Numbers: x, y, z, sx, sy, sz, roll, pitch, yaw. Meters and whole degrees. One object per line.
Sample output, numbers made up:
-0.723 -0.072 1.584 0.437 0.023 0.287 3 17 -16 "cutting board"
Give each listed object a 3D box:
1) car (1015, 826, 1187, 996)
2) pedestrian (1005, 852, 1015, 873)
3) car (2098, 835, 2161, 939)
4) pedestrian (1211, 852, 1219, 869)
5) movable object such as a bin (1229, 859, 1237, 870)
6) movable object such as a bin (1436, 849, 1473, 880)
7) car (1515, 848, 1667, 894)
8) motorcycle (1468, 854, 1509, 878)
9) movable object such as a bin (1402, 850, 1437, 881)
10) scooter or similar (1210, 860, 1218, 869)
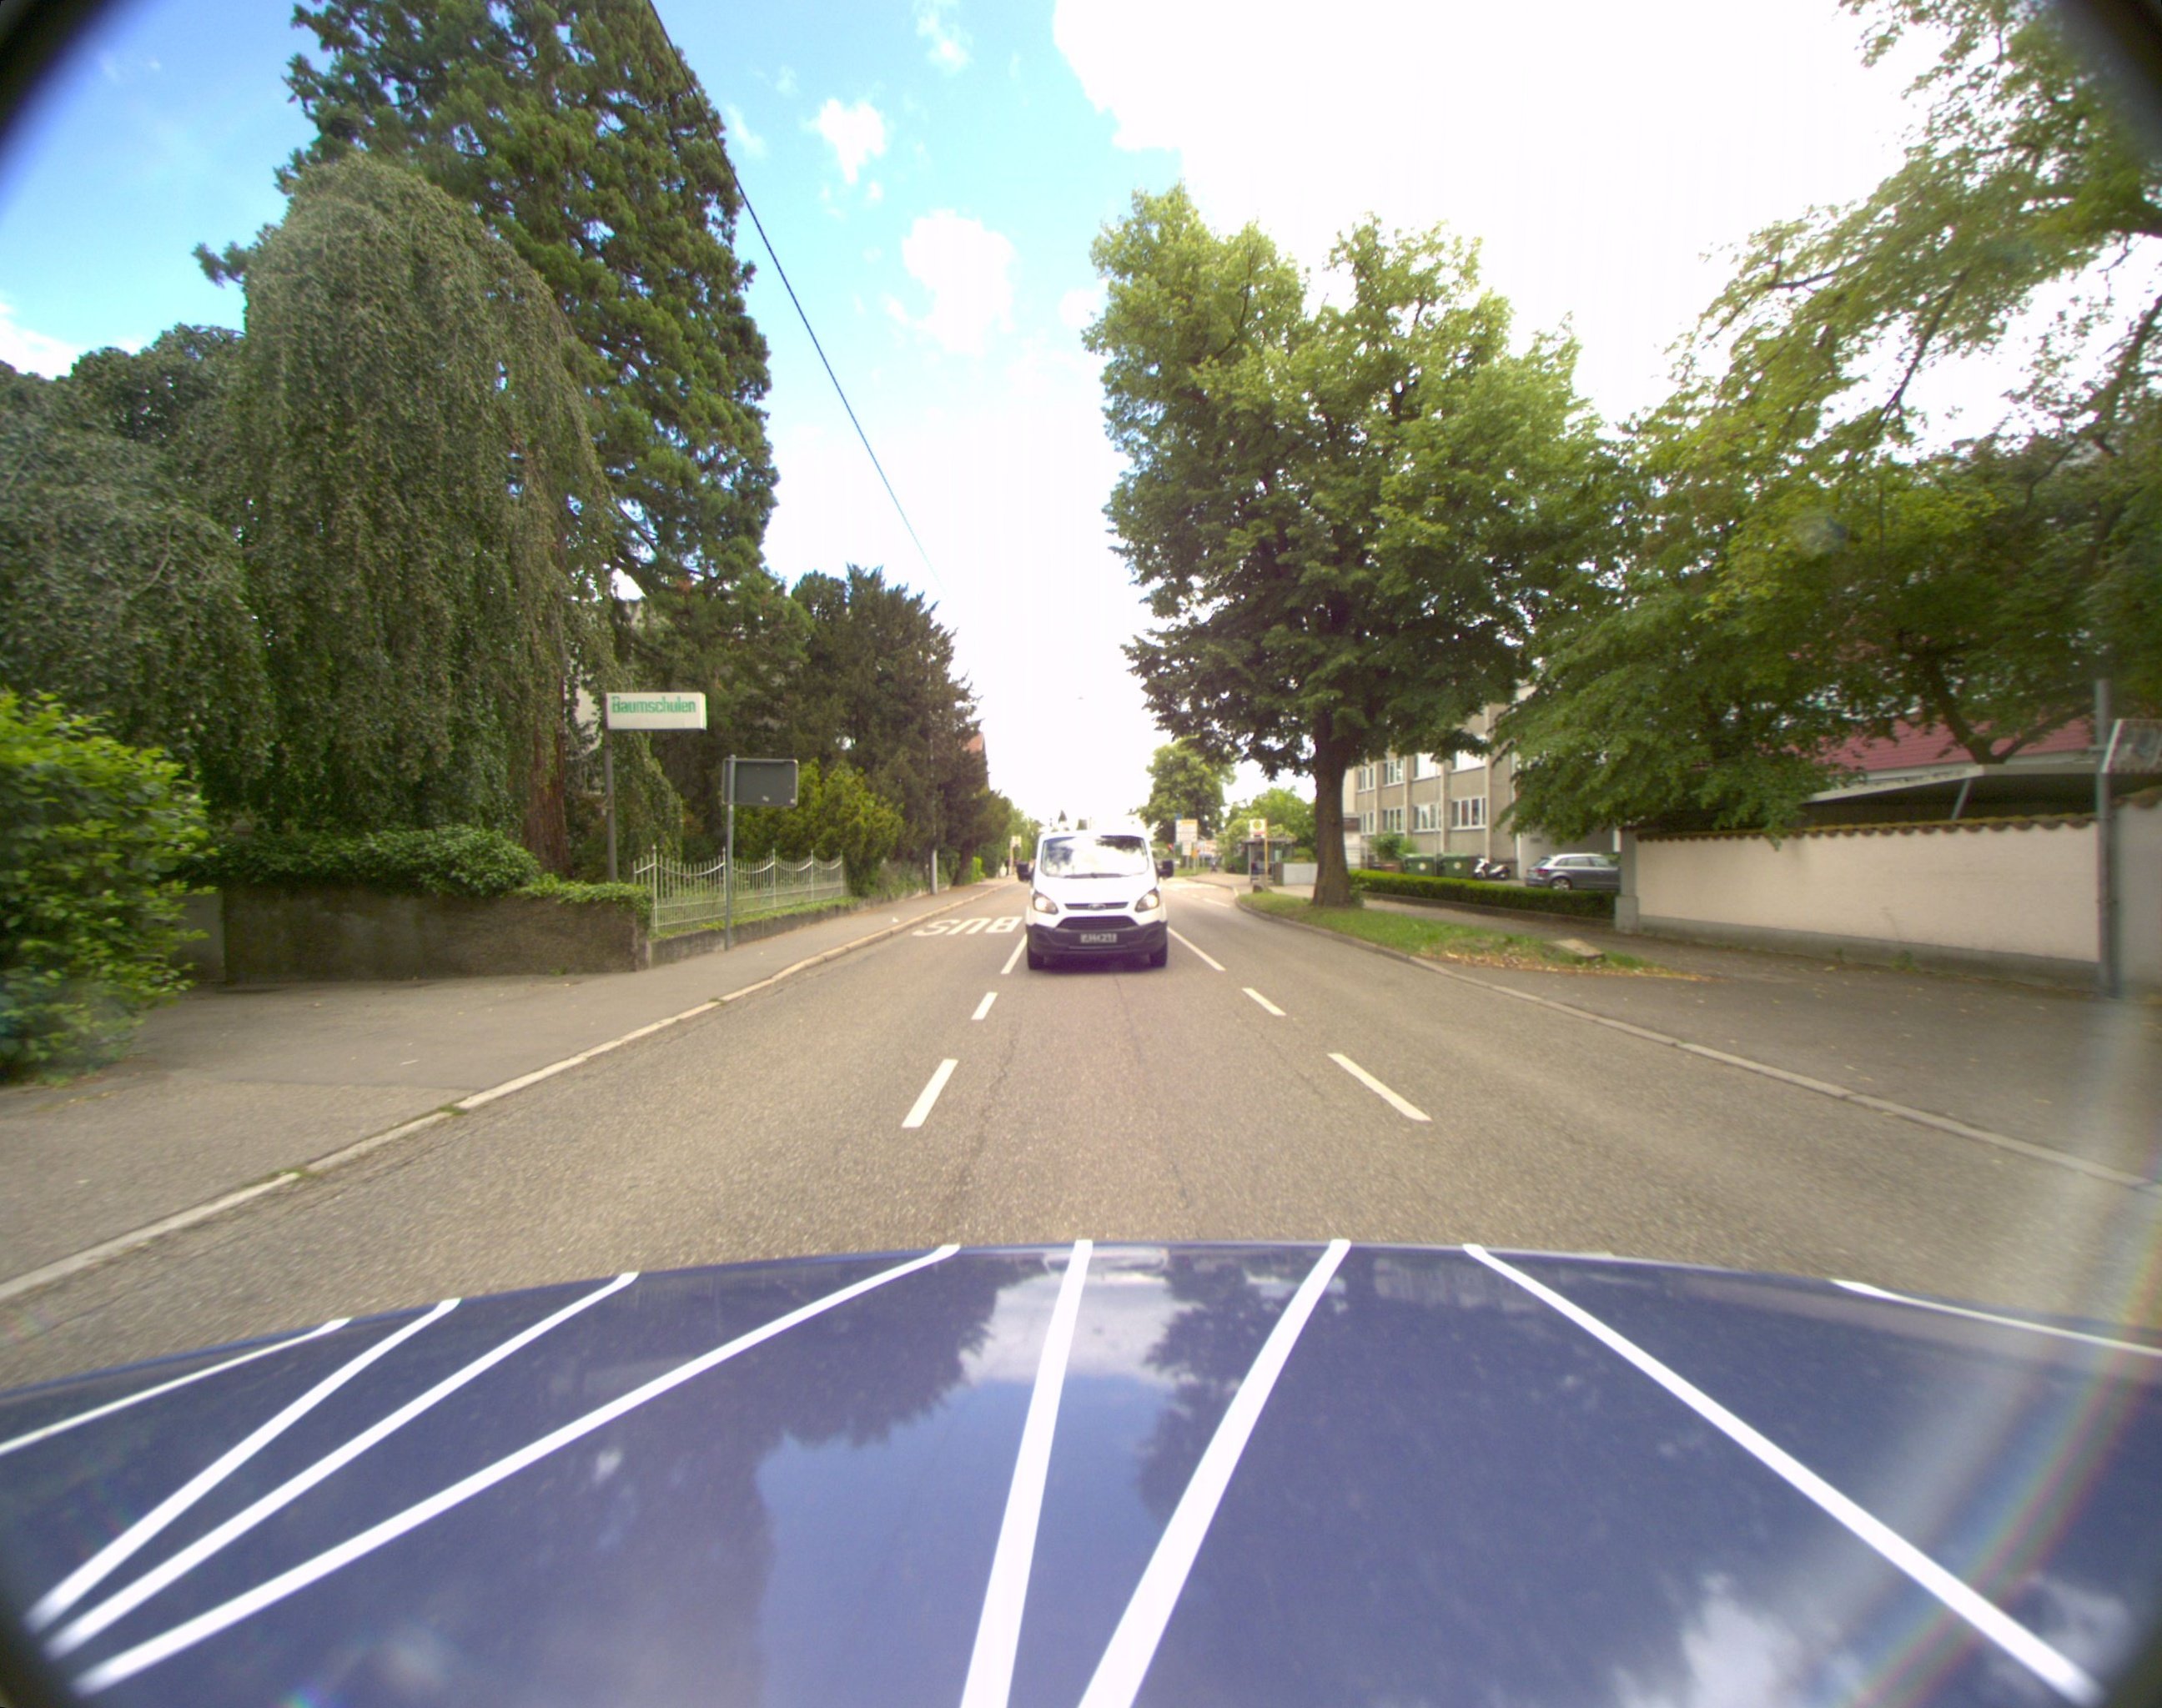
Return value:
0.172 0.649 11.929 1.999 1.961 5.713 -2 1 -1 "car"
-5.955 0.737 63.791 0.488 1.757 0.672 -1 1 31 "pedestrian"
16.361 0.479 9.815 1.625 1.477 3.616 -2 1 1 "car"
12.243 0.588 69.405 0.672 1.549 0.520 -1 1 17 "pedestrian"
13.120 0.947 65.515 0.566 0.922 0.608 -1 1 16 "movable object such as a bin"
18.393 0.492 37.427 1.365 1.457 0.885 -2 1 0 "movable object such as a bin"
18.122 0.602 27.226 4.143 1.470 1.814 -2 1 14 "car"
20.114 0.576 37.499 1.645 1.133 0.639 -2 1 1 "motorcycle"
16.689 0.538 37.485 1.301 1.457 0.992 -2 1 0 "movable object such as a bin"
11.984 0.964 68.517 0.607 0.782 0.860 -1 1 17 "scooter or similar"
